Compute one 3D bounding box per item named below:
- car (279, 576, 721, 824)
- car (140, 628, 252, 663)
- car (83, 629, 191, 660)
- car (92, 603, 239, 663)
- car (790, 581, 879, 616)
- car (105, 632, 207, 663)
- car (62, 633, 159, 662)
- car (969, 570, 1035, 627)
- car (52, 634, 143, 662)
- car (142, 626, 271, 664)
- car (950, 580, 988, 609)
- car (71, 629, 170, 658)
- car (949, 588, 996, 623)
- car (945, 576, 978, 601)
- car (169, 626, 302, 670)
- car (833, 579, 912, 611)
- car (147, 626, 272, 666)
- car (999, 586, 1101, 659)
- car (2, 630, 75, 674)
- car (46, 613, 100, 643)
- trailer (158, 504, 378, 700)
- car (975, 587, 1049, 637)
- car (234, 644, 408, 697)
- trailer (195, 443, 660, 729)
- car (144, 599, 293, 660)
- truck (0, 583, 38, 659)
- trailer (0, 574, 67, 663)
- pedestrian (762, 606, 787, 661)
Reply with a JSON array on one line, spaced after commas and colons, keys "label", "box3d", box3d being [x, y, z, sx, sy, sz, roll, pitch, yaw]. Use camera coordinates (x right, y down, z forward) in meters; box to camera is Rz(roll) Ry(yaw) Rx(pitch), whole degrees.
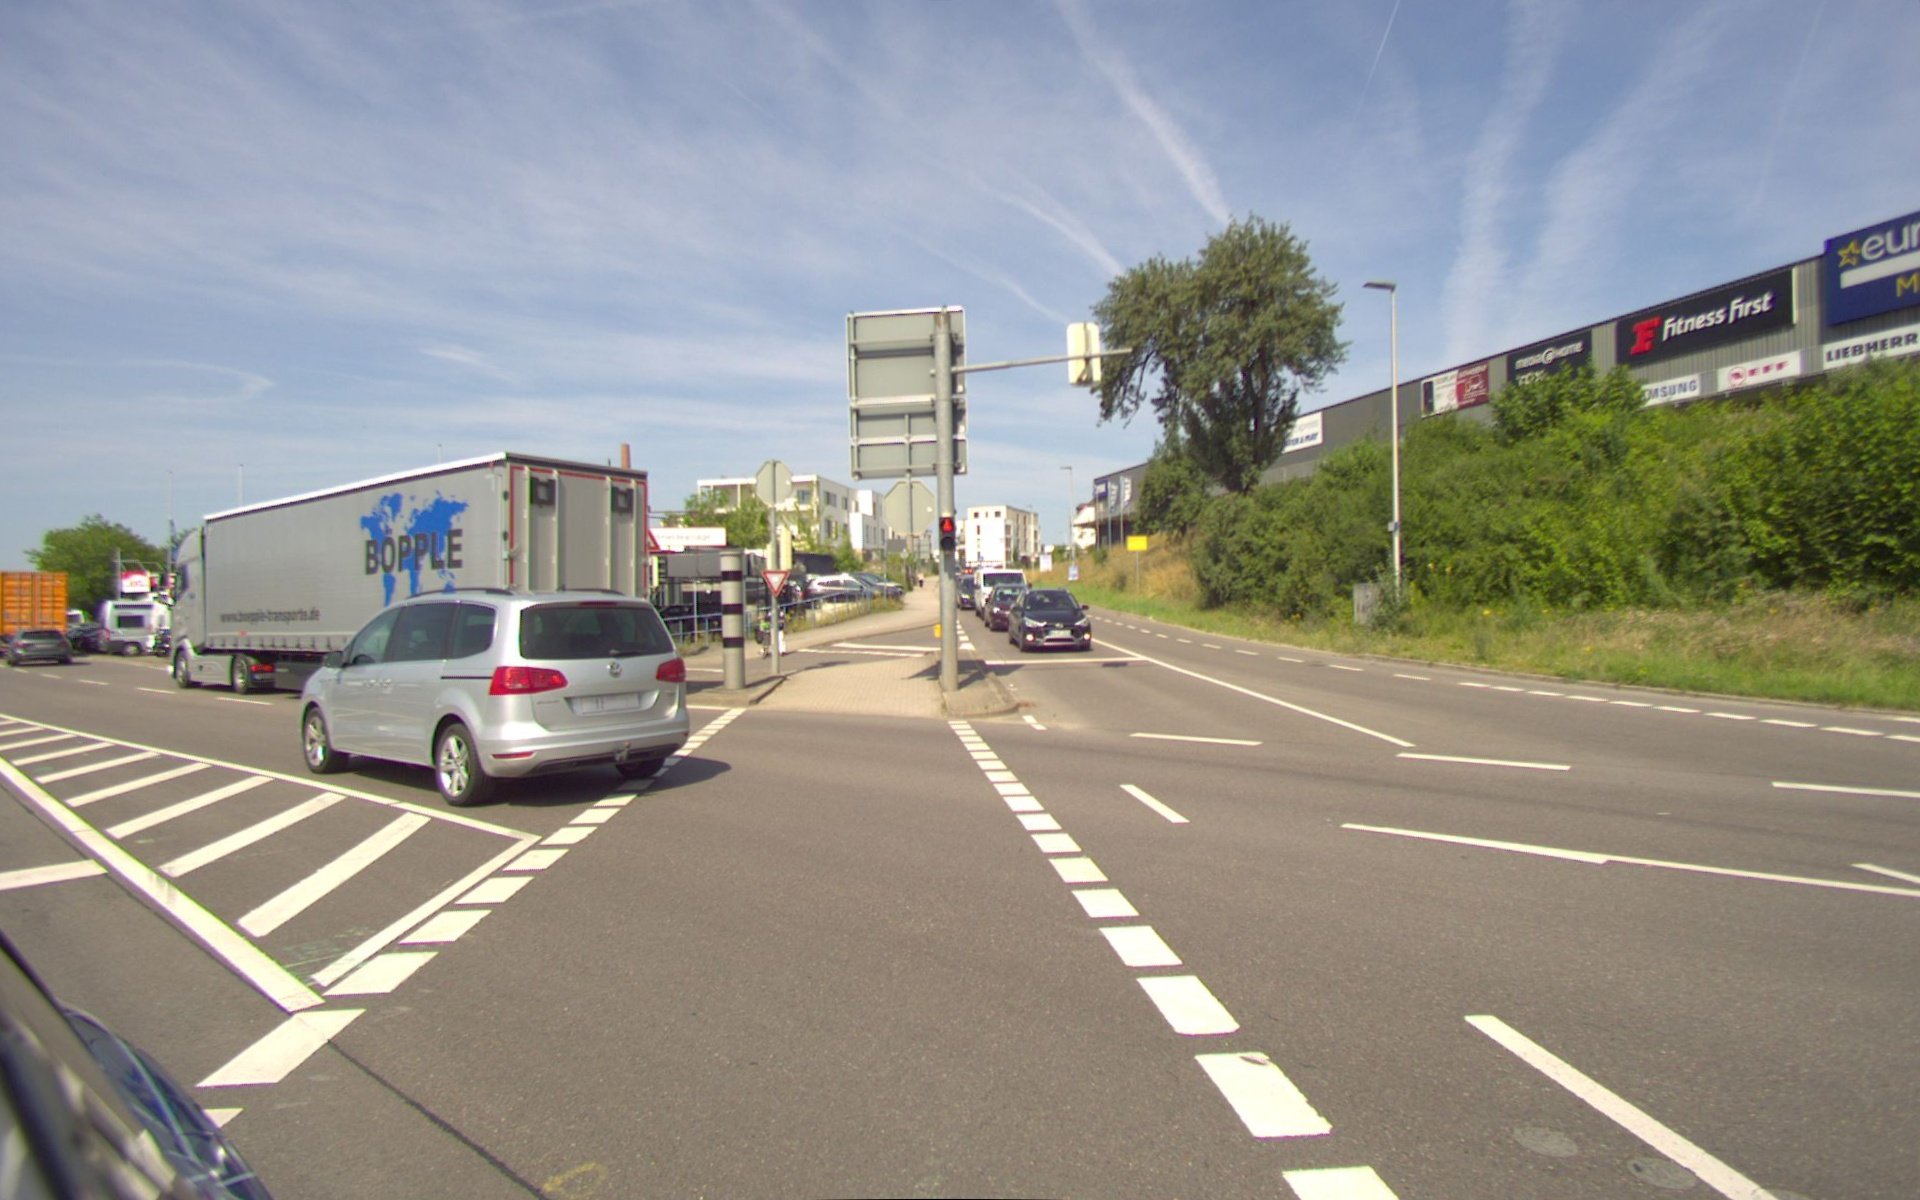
[{"label": "car", "box3d": [-4.414, 0.767, 9.357, 4.583, 1.745, 1.825, -2, 0, 39]}, {"label": "car", "box3d": [-35.629, 2.106, 47.238, 1.881, 1.481, 3.943, -2, -1, 43]}, {"label": "car", "box3d": [-43.488, 2.327, 53.542, 1.873, 1.479, 4.202, -2, -1, 42]}, {"label": "car", "box3d": [-39.382, 1.567, 50.265, 2.177, 2.794, 5.506, -2, -1, 43]}, {"label": "car", "box3d": [-5.933, -0.106, 48.179, 4.012, 1.574, 2.001, -1, 1, -1]}, {"label": "car", "box3d": [-41.354, 2.397, 52.090, 1.828, 1.442, 3.895, -2, -1, 43]}, {"label": "car", "box3d": [-47.616, 2.613, 56.751, 1.946, 1.463, 3.945, -2, -1, 41]}, {"label": "car", "box3d": [1.607, -0.131, 40.992, 2.037, 2.056, 5.520, -2, 2, -3]}, {"label": "car", "box3d": [-51.010, 2.832, 59.881, 1.756, 1.493, 3.943, -2, -1, 43]}, {"label": "car", "box3d": [-33.789, 1.997, 45.463, 2.028, 1.542, 4.323, -2, -1, 40]}, {"label": "car", "box3d": [0.464, -0.357, 57.608, 1.971, 1.574, 4.512, -1, 1, -2]}, {"label": "car", "box3d": [-45.602, 2.349, 55.016, 1.905, 1.465, 3.945, -2, -1, 41]}, {"label": "car", "box3d": [0.586, 0.242, 49.976, 1.970, 1.574, 4.513, -1, 1, -3]}, {"label": "car", "box3d": [0.075, -0.775, 66.994, 1.971, 1.574, 4.512, -1, 1, -2]}, {"label": "car", "box3d": [-29.472, 1.908, 41.320, 2.010, 1.635, 4.165, -1, -1, 13]}, {"label": "car", "box3d": [-4.573, -0.267, 53.360, 4.012, 1.574, 2.001, -1, 1, -1]}, {"label": "car", "box3d": [-31.972, 1.919, 43.182, 2.030, 1.542, 3.992, -2, -1, 41]}, {"label": "car", "box3d": [2.198, 0.493, 26.005, 1.887, 1.538, 4.641, -2, 2, -3]}, {"label": "car", "box3d": [-36.076, 2.025, 39.587, 1.899, 1.614, 4.591, 2, -3, -44]}, {"label": "car", "box3d": [-79.410, 2.515, 90.724, 2.399, 2.563, 6.060, -1, -1, -29]}, {"label": "trailer", "box3d": [-16.692, 0.111, 24.256, 6.171, 4.136, 2.620, -2, -1, 38]}, {"label": "car", "box3d": [1.662, 0.348, 34.055, 1.920, 1.429, 4.979, -1, 2, -4]}, {"label": "car", "box3d": [-21.687, 2.386, 34.510, 4.570, 1.447, 1.976, -3, 0, -5]}, {"label": "trailer", "box3d": [-11.295, -0.056, 20.048, 13.858, 4.179, 2.666, -2, -1, 38]}, {"label": "car", "box3d": [-36.477, 1.421, 49.896, 2.116, 2.860, 5.646, -3, -2, 43]}, {"label": "truck", "box3d": [-53.099, 1.166, 55.857, 6.056, 4.028, 2.691, -2, -1, 42]}, {"label": "trailer", "box3d": [-47.506, 0.961, 50.825, 12.232, 4.028, 2.691, -2, -1, 42]}, {"label": "pedestrian", "box3d": [-5.388, 0.967, 29.383, 0.493, 1.545, 0.381, -1, 4, 29]}]
